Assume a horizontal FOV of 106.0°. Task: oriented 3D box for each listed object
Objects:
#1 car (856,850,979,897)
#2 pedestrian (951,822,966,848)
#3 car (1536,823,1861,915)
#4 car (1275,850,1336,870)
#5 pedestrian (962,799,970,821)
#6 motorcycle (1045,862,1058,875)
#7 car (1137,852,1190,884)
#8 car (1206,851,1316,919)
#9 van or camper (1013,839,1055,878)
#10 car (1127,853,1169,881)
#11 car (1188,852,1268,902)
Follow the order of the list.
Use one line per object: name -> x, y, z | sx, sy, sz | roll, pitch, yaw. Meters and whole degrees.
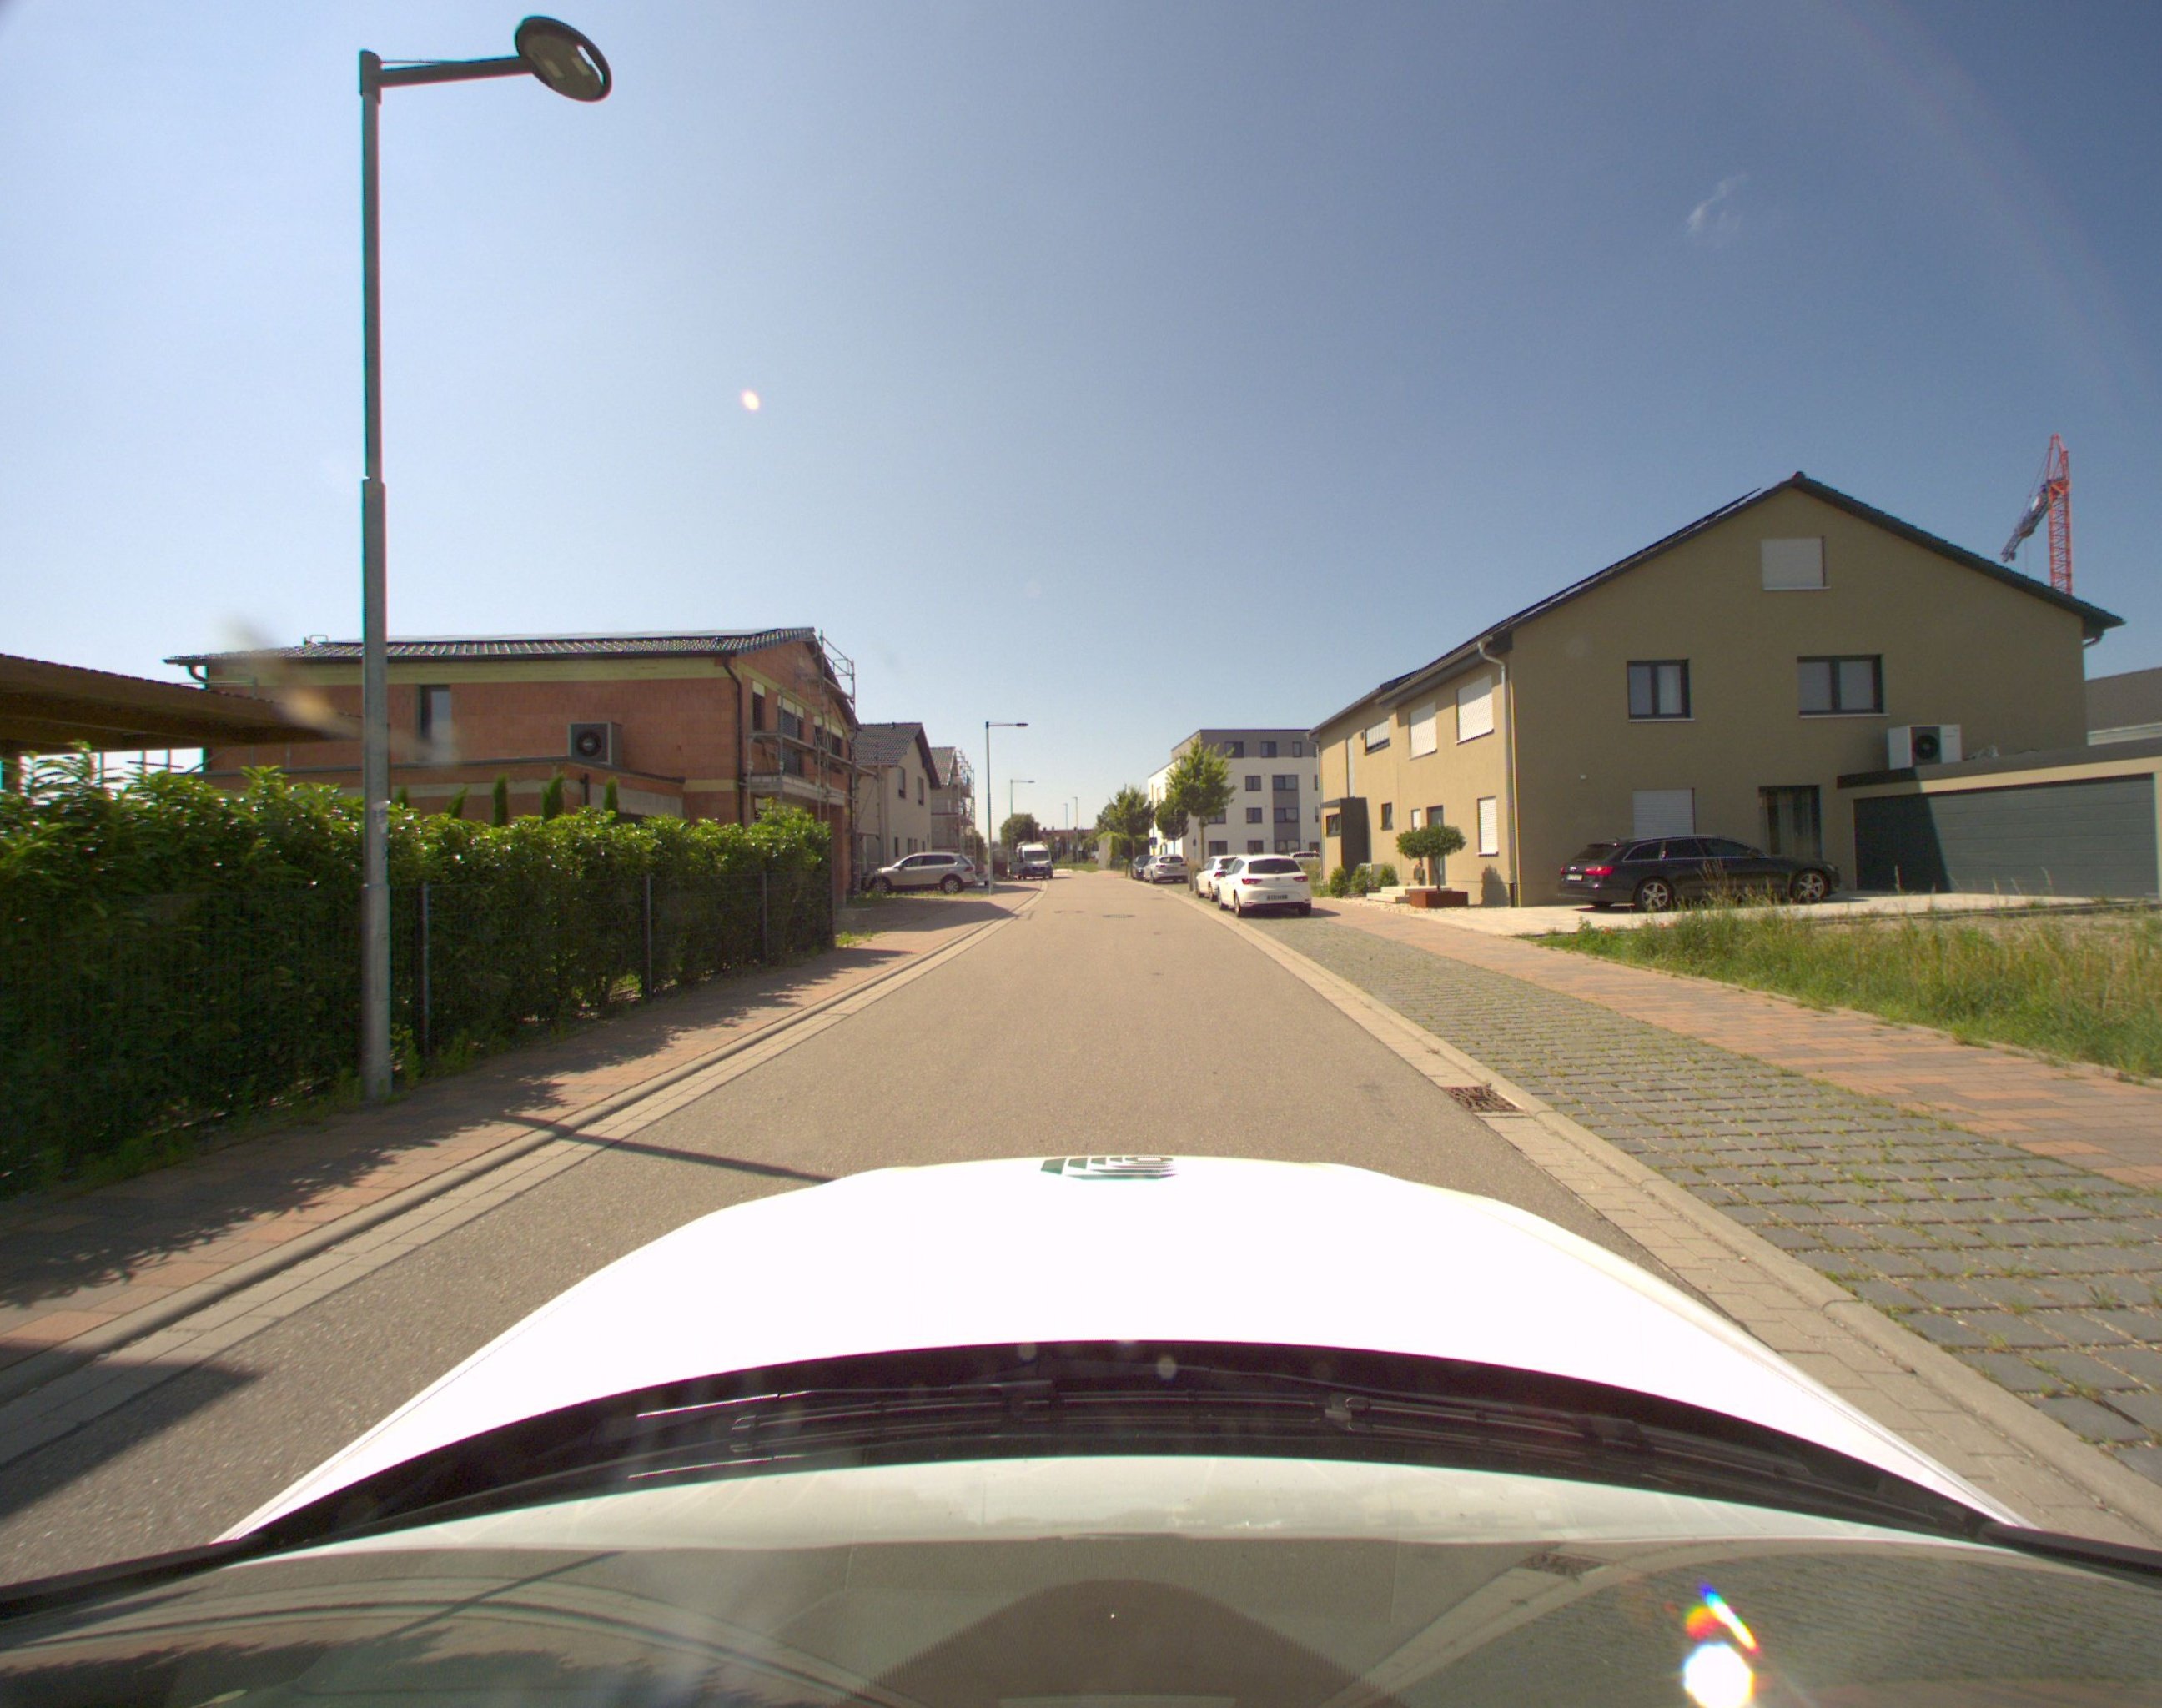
car -> -6.287, 0.737, 31.773 | 4.415, 1.612, 1.997 | -2, 0, -4
pedestrian -> -7.979, -1.234, 53.035 | 0.571, 1.680, 0.753 | -4, -4, 44
car -> 12.098, 0.283, 16.243 | 4.868, 1.426, 2.001 | -4, 0, 2
car -> 17.357, 0.483, 63.003 | 4.152, 1.436, 1.879 | -2, -1, -6
pedestrian -> -8.198, -3.116, 57.987 | 0.561, 1.500, 0.746 | -1, -3, -9
motorcycle -> -2.637, 1.324, 72.847 | 0.954, 1.035, 2.432 | -1, 2, -6
car -> 4.289, 0.690, 43.062 | 1.914, 1.511, 5.288 | -3, 0, -3
car -> 4.418, 0.712, 20.709 | 1.808, 1.456, 4.565 | -3, 0, 1
van or camper -> -3.428, 0.357, 57.751 | 2.273, 2.553, 6.345 | -1, -1, -10
car -> 3.949, 0.729, 49.115 | 1.913, 1.469, 5.136 | -3, 0, -2
car -> 4.780, 0.680, 27.085 | 1.774, 1.426, 4.513 | -3, 0, 0
